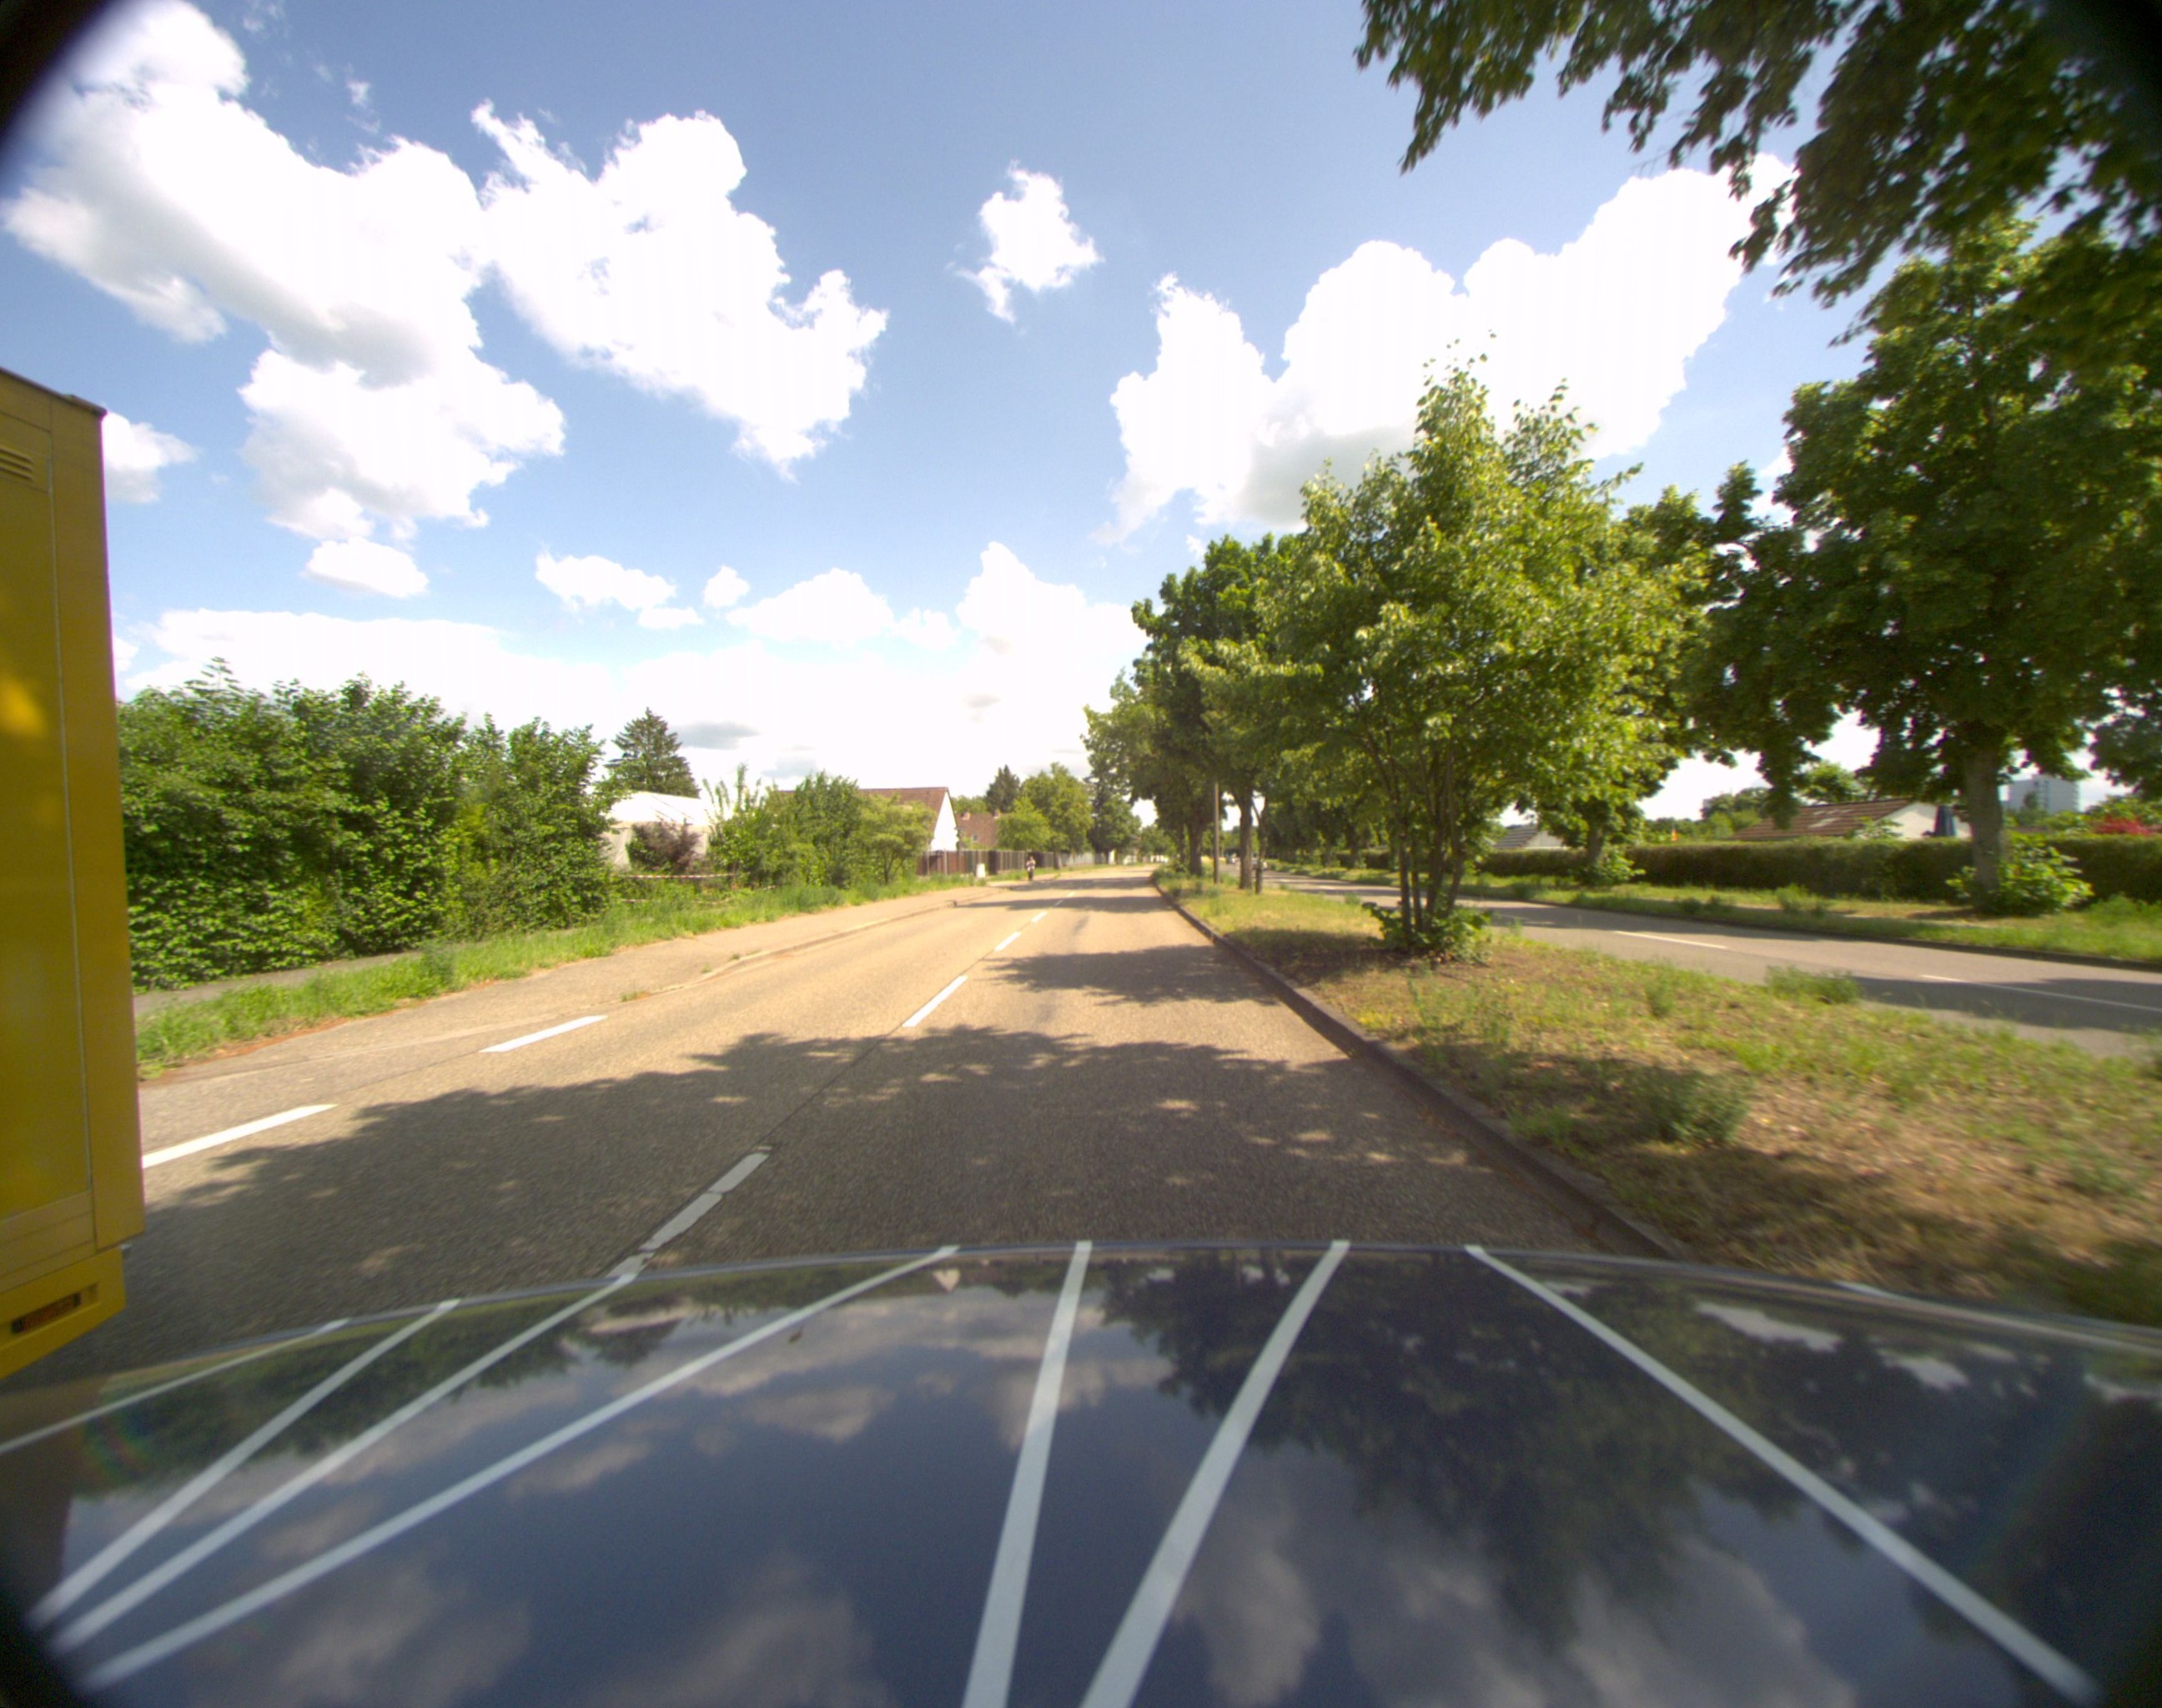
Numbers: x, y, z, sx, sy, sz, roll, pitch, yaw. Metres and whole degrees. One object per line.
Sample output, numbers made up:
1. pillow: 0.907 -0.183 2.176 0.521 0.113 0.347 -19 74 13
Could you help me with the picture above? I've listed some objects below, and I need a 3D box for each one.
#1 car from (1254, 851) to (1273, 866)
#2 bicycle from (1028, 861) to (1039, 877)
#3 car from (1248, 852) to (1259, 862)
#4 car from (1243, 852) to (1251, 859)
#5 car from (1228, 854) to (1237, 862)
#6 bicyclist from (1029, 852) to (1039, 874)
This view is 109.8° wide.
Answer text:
1. car: 20.998 0.501 87.329 1.740 1.577 4.115 1 0 8
2. bicycle: -3.568 1.100 57.397 0.627 1.145 1.739 -1 0 4
3. car: 28.119 0.528 123.847 1.739 1.577 4.116 1 0 13
4. car: 38.609 0.250 176.682 1.739 1.577 4.116 1 0 13
5. car: 30.241 0.828 151.686 1.739 1.577 4.116 1 0 13
6. bicyclist: -3.567 0.671 57.446 0.620 1.625 0.700 -1 1 4
